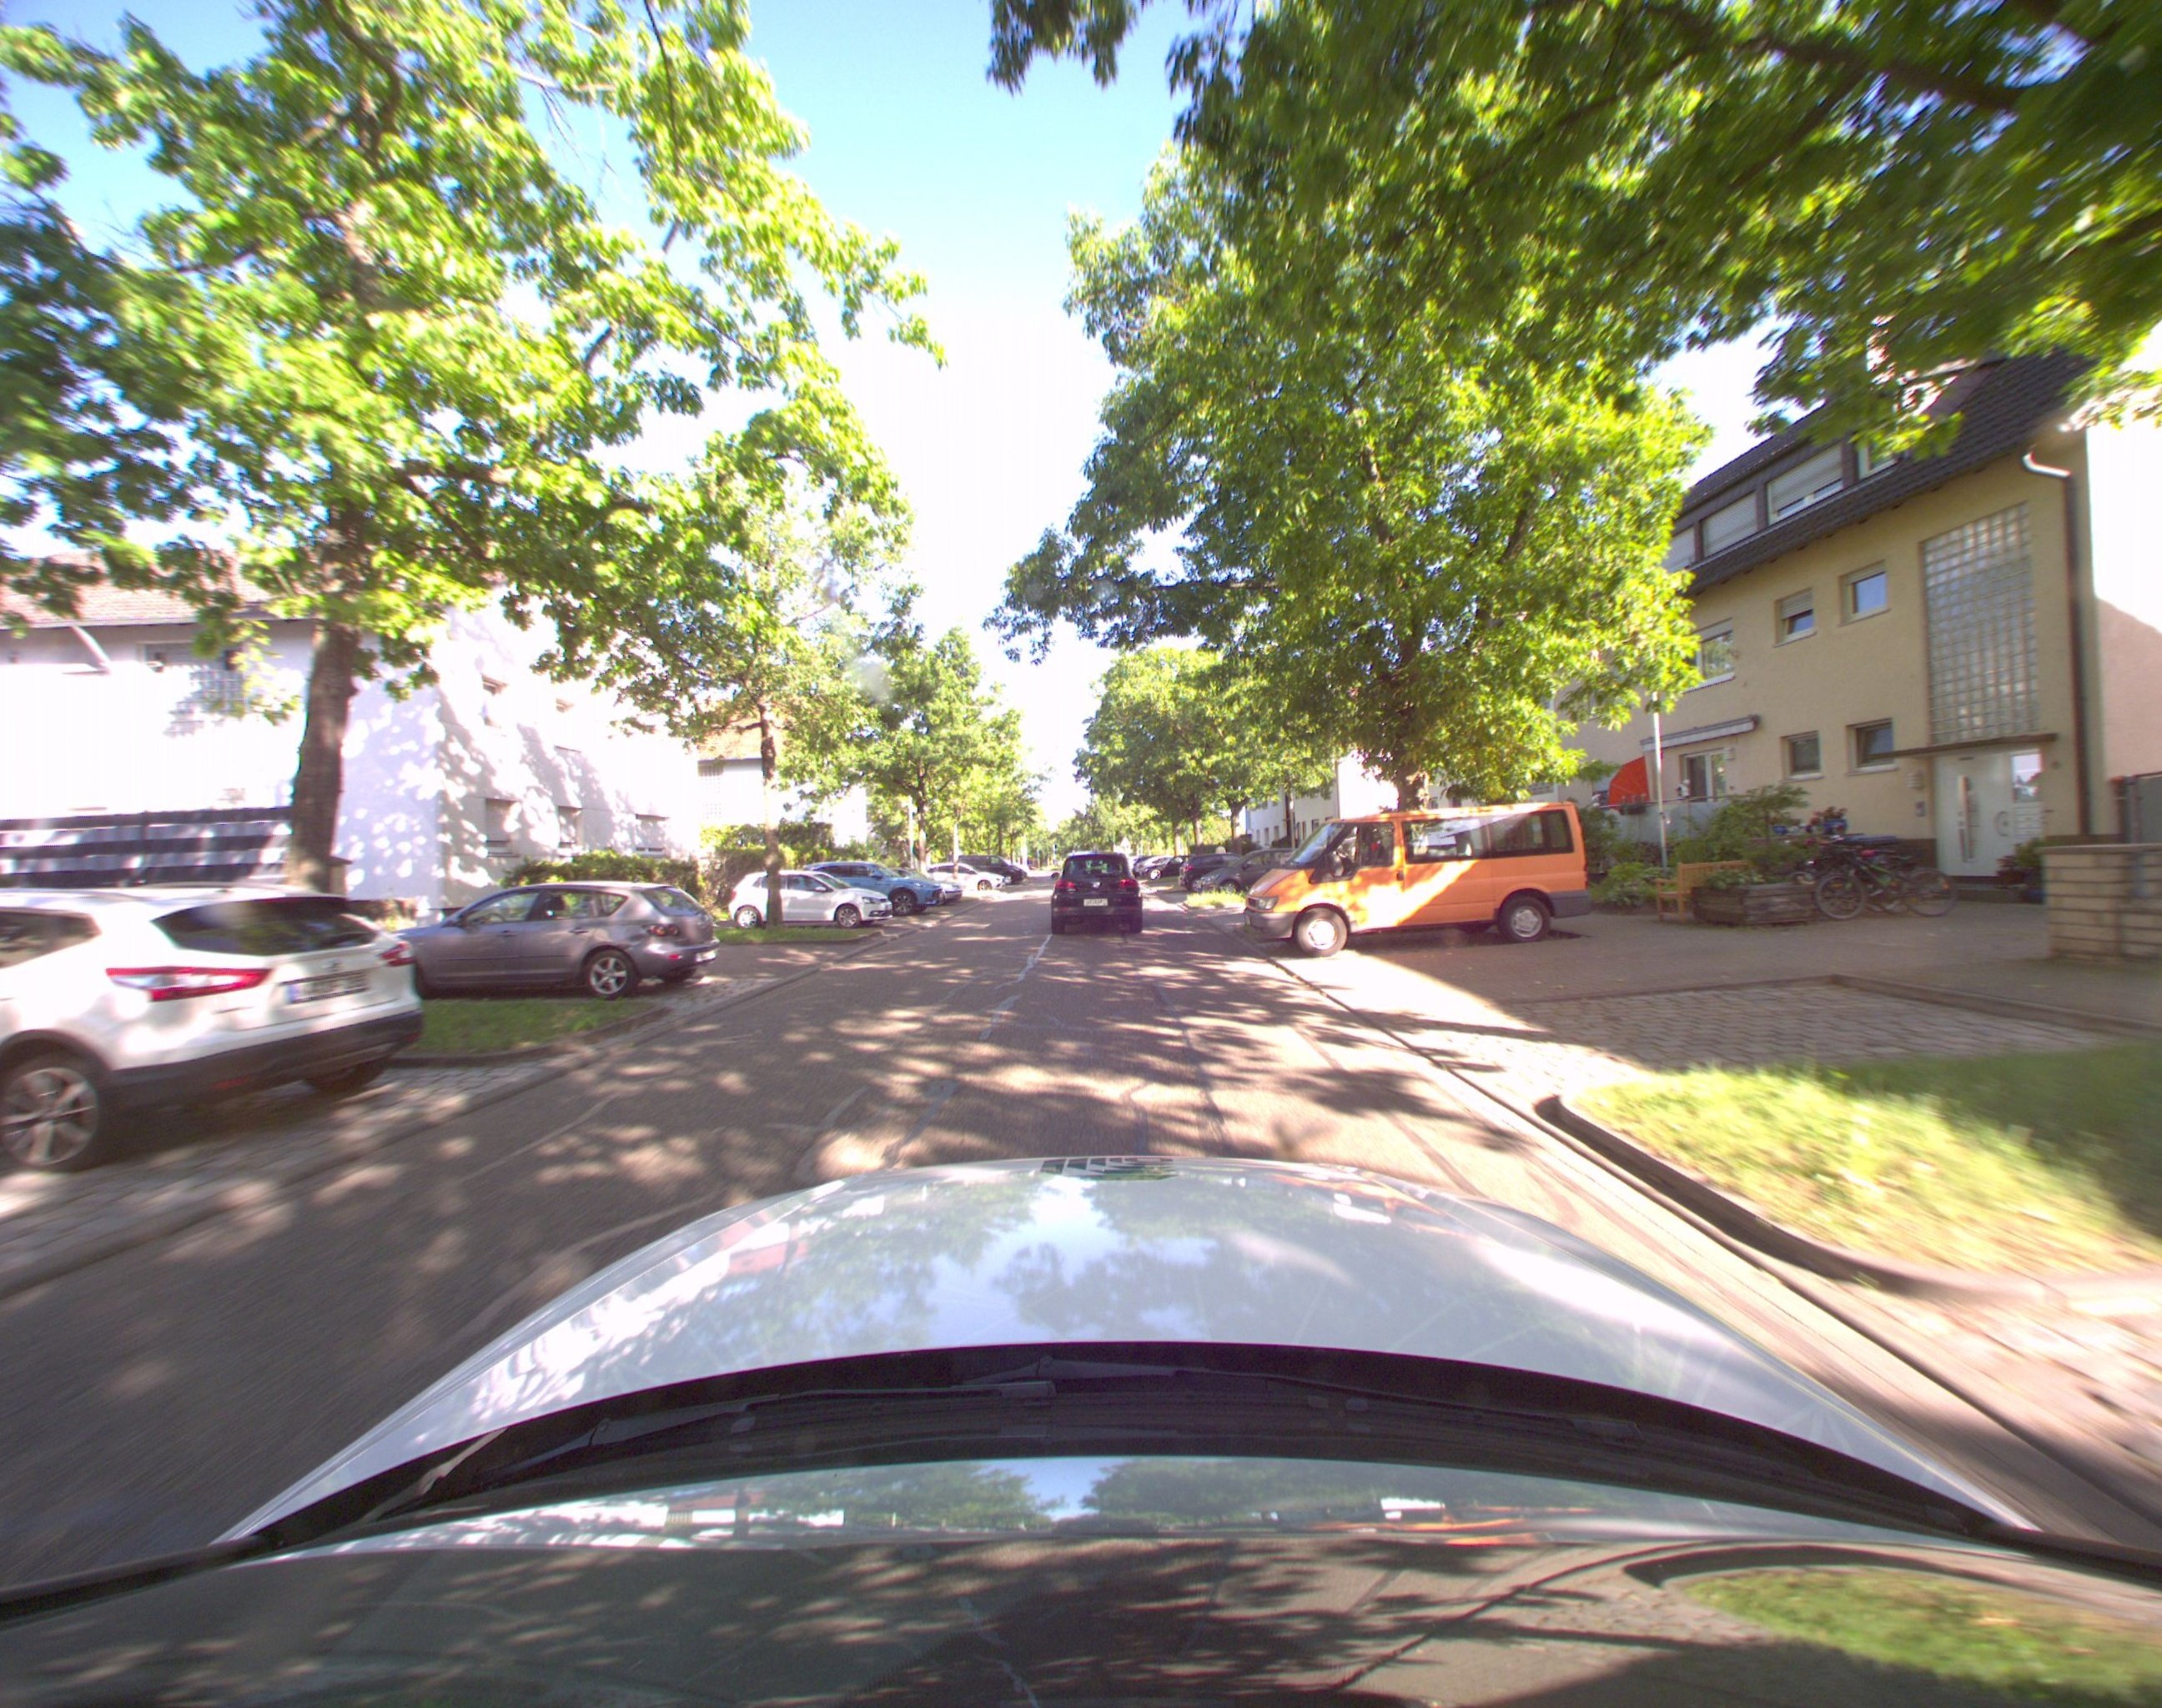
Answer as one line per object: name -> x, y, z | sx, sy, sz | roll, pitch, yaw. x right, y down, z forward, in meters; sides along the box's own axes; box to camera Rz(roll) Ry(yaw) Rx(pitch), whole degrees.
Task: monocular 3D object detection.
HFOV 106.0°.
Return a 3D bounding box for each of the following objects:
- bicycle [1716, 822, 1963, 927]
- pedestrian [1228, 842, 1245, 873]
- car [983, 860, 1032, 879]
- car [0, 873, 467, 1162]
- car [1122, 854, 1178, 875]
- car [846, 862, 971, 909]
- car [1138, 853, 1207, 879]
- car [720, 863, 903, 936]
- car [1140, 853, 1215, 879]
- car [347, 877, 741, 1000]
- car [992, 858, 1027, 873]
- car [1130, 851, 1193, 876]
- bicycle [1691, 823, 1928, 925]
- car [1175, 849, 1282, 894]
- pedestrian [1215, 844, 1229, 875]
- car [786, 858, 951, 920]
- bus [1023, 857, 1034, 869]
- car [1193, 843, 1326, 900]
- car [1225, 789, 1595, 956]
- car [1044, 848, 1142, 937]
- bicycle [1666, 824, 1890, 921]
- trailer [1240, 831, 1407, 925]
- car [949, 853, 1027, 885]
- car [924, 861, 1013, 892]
bicycle -> 10.472, 0.287, 11.292 | 2.847, 1.237, 0.468 | -4, -1, 2
pedestrian -> 9.419, 0.211, 49.417 | 0.831, 1.828, 0.711 | -3, -1, 2
car -> -6.033, 1.271, 67.344 | 3.844, 1.459, 1.713 | -2, 0, 0
car -> -6.927, 0.967, 5.537 | 4.170, 1.567, 1.793 | -1, 0, 3
car -> 5.669, 0.842, 66.981 | 4.413, 1.491, 1.797 | -3, 0, 0
car -> -6.296, 1.148, 30.032 | 4.167, 1.492, 1.647 | -3, -1, 1
car -> 5.941, 0.758, 53.295 | 4.262, 1.414, 1.797 | -3, 0, 0
car -> -6.780, 1.128, 20.782 | 3.972, 1.595, 1.858 | -3, -1, 1
car -> 5.940, 0.740, 50.493 | 4.332, 1.363, 1.873 | -3, -1, 0
car -> -6.935, 1.056, 10.852 | 4.021, 1.423, 1.810 | 0, 0, 0
car -> -8.867, 1.450, 101.048 | 4.234, 1.623, 1.894 | -3, -1, -4
car -> 5.724, 0.655, 58.260 | 4.262, 1.503, 1.797 | -3, 0, 0
bicycle -> 10.497, 0.286, 11.780 | 2.848, 1.237, 0.468 | -4, -1, 2
car -> 5.706, 0.692, 31.837 | 3.868, 1.516, 1.661 | -3, -1, 1
pedestrian -> 8.549, 0.334, 49.418 | 0.605, 1.873, 0.924 | -3, -1, 2
car -> -6.500, 1.058, 25.260 | 4.507, 1.631, 1.938 | -3, -1, 1
bus -> -14.922, 2.597, 230.067 | 2.922, 3.004, 5.729 | -3, -1, -3
car -> 5.832, 0.568, 26.911 | 3.972, 1.624, 1.758 | -3, -1, 1
car -> 4.854, 0.267, 12.624 | 4.801, 2.083, 2.087 | -4, 0, 1
car -> 0.355, 0.750, 17.559 | 1.830, 1.636, 3.961 | -2, 0, 3
bicycle -> 10.469, 0.277, 12.278 | 2.847, 1.237, 0.468 | -4, -1, 2
trailer -> 5.092, 0.493, 17.339 | 2.941, 1.664, 1.612 | -4, -1, -5
car -> -5.926, 0.954, 52.393 | 4.765, 1.917, 2.017 | -2, 0, -2
car -> -5.759, 1.155, 41.928 | 4.261, 1.478, 1.769 | -1, 0, 0
